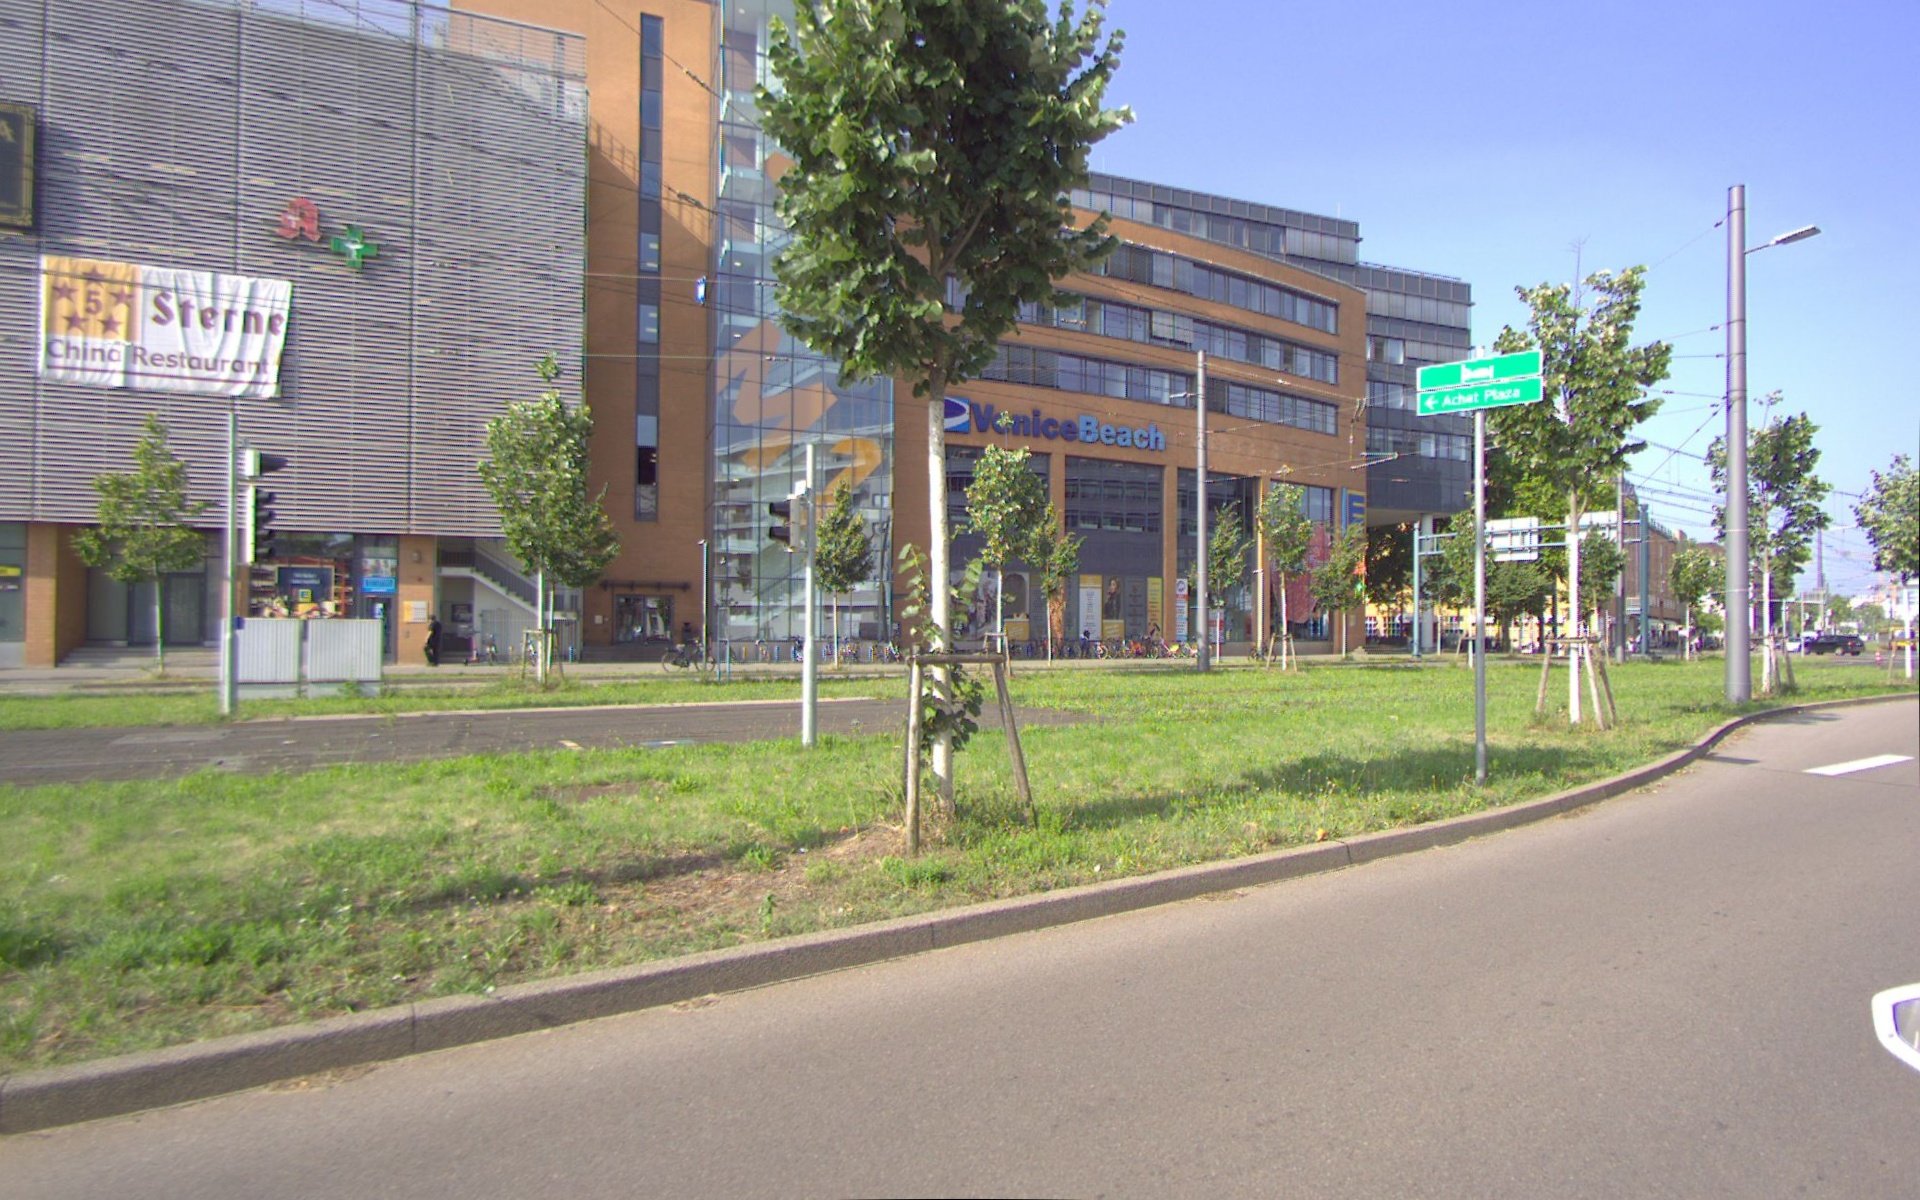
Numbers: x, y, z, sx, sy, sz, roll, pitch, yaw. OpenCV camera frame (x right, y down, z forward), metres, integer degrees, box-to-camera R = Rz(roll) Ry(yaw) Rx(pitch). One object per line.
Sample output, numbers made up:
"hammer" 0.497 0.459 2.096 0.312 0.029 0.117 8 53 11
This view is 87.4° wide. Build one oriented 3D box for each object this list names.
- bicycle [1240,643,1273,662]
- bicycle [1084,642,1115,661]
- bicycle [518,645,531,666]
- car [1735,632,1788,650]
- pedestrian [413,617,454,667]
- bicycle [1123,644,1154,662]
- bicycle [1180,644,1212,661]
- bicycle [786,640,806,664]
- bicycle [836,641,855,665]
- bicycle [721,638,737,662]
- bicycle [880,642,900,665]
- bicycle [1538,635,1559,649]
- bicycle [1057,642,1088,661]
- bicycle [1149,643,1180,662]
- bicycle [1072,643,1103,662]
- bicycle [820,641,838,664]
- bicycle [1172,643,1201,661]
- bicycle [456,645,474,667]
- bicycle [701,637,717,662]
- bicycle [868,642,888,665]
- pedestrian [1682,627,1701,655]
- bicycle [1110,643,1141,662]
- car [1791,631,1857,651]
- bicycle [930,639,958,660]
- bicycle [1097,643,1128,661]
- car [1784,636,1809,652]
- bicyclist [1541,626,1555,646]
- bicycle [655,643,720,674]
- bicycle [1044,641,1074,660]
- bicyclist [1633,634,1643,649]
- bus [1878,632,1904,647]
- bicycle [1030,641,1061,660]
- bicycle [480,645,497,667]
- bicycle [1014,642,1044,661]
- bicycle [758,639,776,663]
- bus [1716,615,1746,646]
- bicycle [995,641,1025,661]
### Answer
"bicycle" 15.065 2.657 51.045 0.700 0.919 1.671 2 -2 -24
"bicycle" 7.338 2.706 52.802 0.566 0.933 2.041 1 -2 -26
"bicycle" -15.885 2.022 36.634 0.355 0.762 1.020 1 -1 -19
"car" 76.575 3.922 96.048 1.848 1.645 3.590 1 -2 -33
"pedestrian" -18.495 1.473 35.313 1.159 1.742 0.816 1 -1 -21
"bicycle" 9.601 2.831 54.123 0.566 0.933 2.041 1 -2 -26
"bicycle" 13.139 2.919 55.976 0.566 0.933 2.041 1 -2 -26
"bicycle" -6.765 2.123 41.393 0.465 0.952 1.576 1 -2 -21
"bicycle" -4.873 2.242 42.749 0.405 0.952 1.576 1 -2 -21
"bicycle" -9.318 2.009 40.522 0.405 0.952 1.576 1 -2 -21
"bicycle" -3.038 2.324 43.642 0.405 0.952 1.576 1 -2 -21
"bicycle" 52.626 3.752 89.797 0.539 1.222 2.288 2 -3 0
"bicycle" 5.813 2.638 51.927 0.566 0.933 2.041 1 -2 -26
"bicycle" 11.136 2.850 54.737 0.566 0.933 2.041 1 -2 -26
"bicycle" 6.618 2.707 52.342 0.566 0.933 2.041 1 -2 -26
"bicycle" -5.514 2.196 42.197 0.405 0.952 1.576 1 -2 -21
"bicycle" 12.511 2.884 55.609 0.376 0.933 2.041 1 -2 -26
"bicycle" -17.699 1.983 35.934 0.445 0.762 1.002 1 -1 -20
"bicycle" -10.031 1.984 40.176 0.405 0.952 1.576 1 -2 -21
"bicycle" -3.516 2.285 42.846 0.405 0.952 1.576 1 -2 -21
"pedestrian" 53.644 3.021 73.658 1.141 2.040 0.773 0 -3 40
"bicycle" 8.834 2.805 53.669 0.566 0.933 2.041 1 -2 -26
"car" 75.448 3.572 87.743 1.968 1.700 3.987 2 -3 -16
"bicycle" -0.789 2.372 48.475 0.566 0.933 2.041 1 -2 -26
"bicycle" 8.085 2.746 53.204 0.566 0.933 2.041 1 -2 -26
"car" 87.192 4.550 104.704 1.706 1.562 3.438 0 -3 34
"bicyclist" 52.648 3.202 89.903 0.653 1.769 0.968 1 -2 1
"bicycle" -9.507 2.044 35.087 2.126 1.001 0.444 2 -2 -12
"bicycle" 5.077 2.597 51.542 0.566 0.933 2.041 1 -2 -26
"bicyclist" 78.963 4.849 116.943 0.974 1.717 0.668 0 -3 37
"bus" 122.846 5.195 132.583 1.967 2.040 3.987 -1 -2 36
"bicycle" 4.339 2.574 51.095 0.566 0.933 2.041 1 -2 -26
"bicycle" -16.984 1.999 36.222 0.445 0.762 1.002 1 -1 -20
"bicycle" 3.440 2.574 50.519 0.566 0.933 2.041 1 -2 -26
"bicycle" -7.909 2.077 41.105 0.405 0.952 1.576 1 -2 -21
"bus" 100.904 4.003 131.423 2.714 3.973 12.162 -1 -2 39
"bicycle" 2.468 2.539 50.063 0.566 0.933 2.041 1 -2 -26
